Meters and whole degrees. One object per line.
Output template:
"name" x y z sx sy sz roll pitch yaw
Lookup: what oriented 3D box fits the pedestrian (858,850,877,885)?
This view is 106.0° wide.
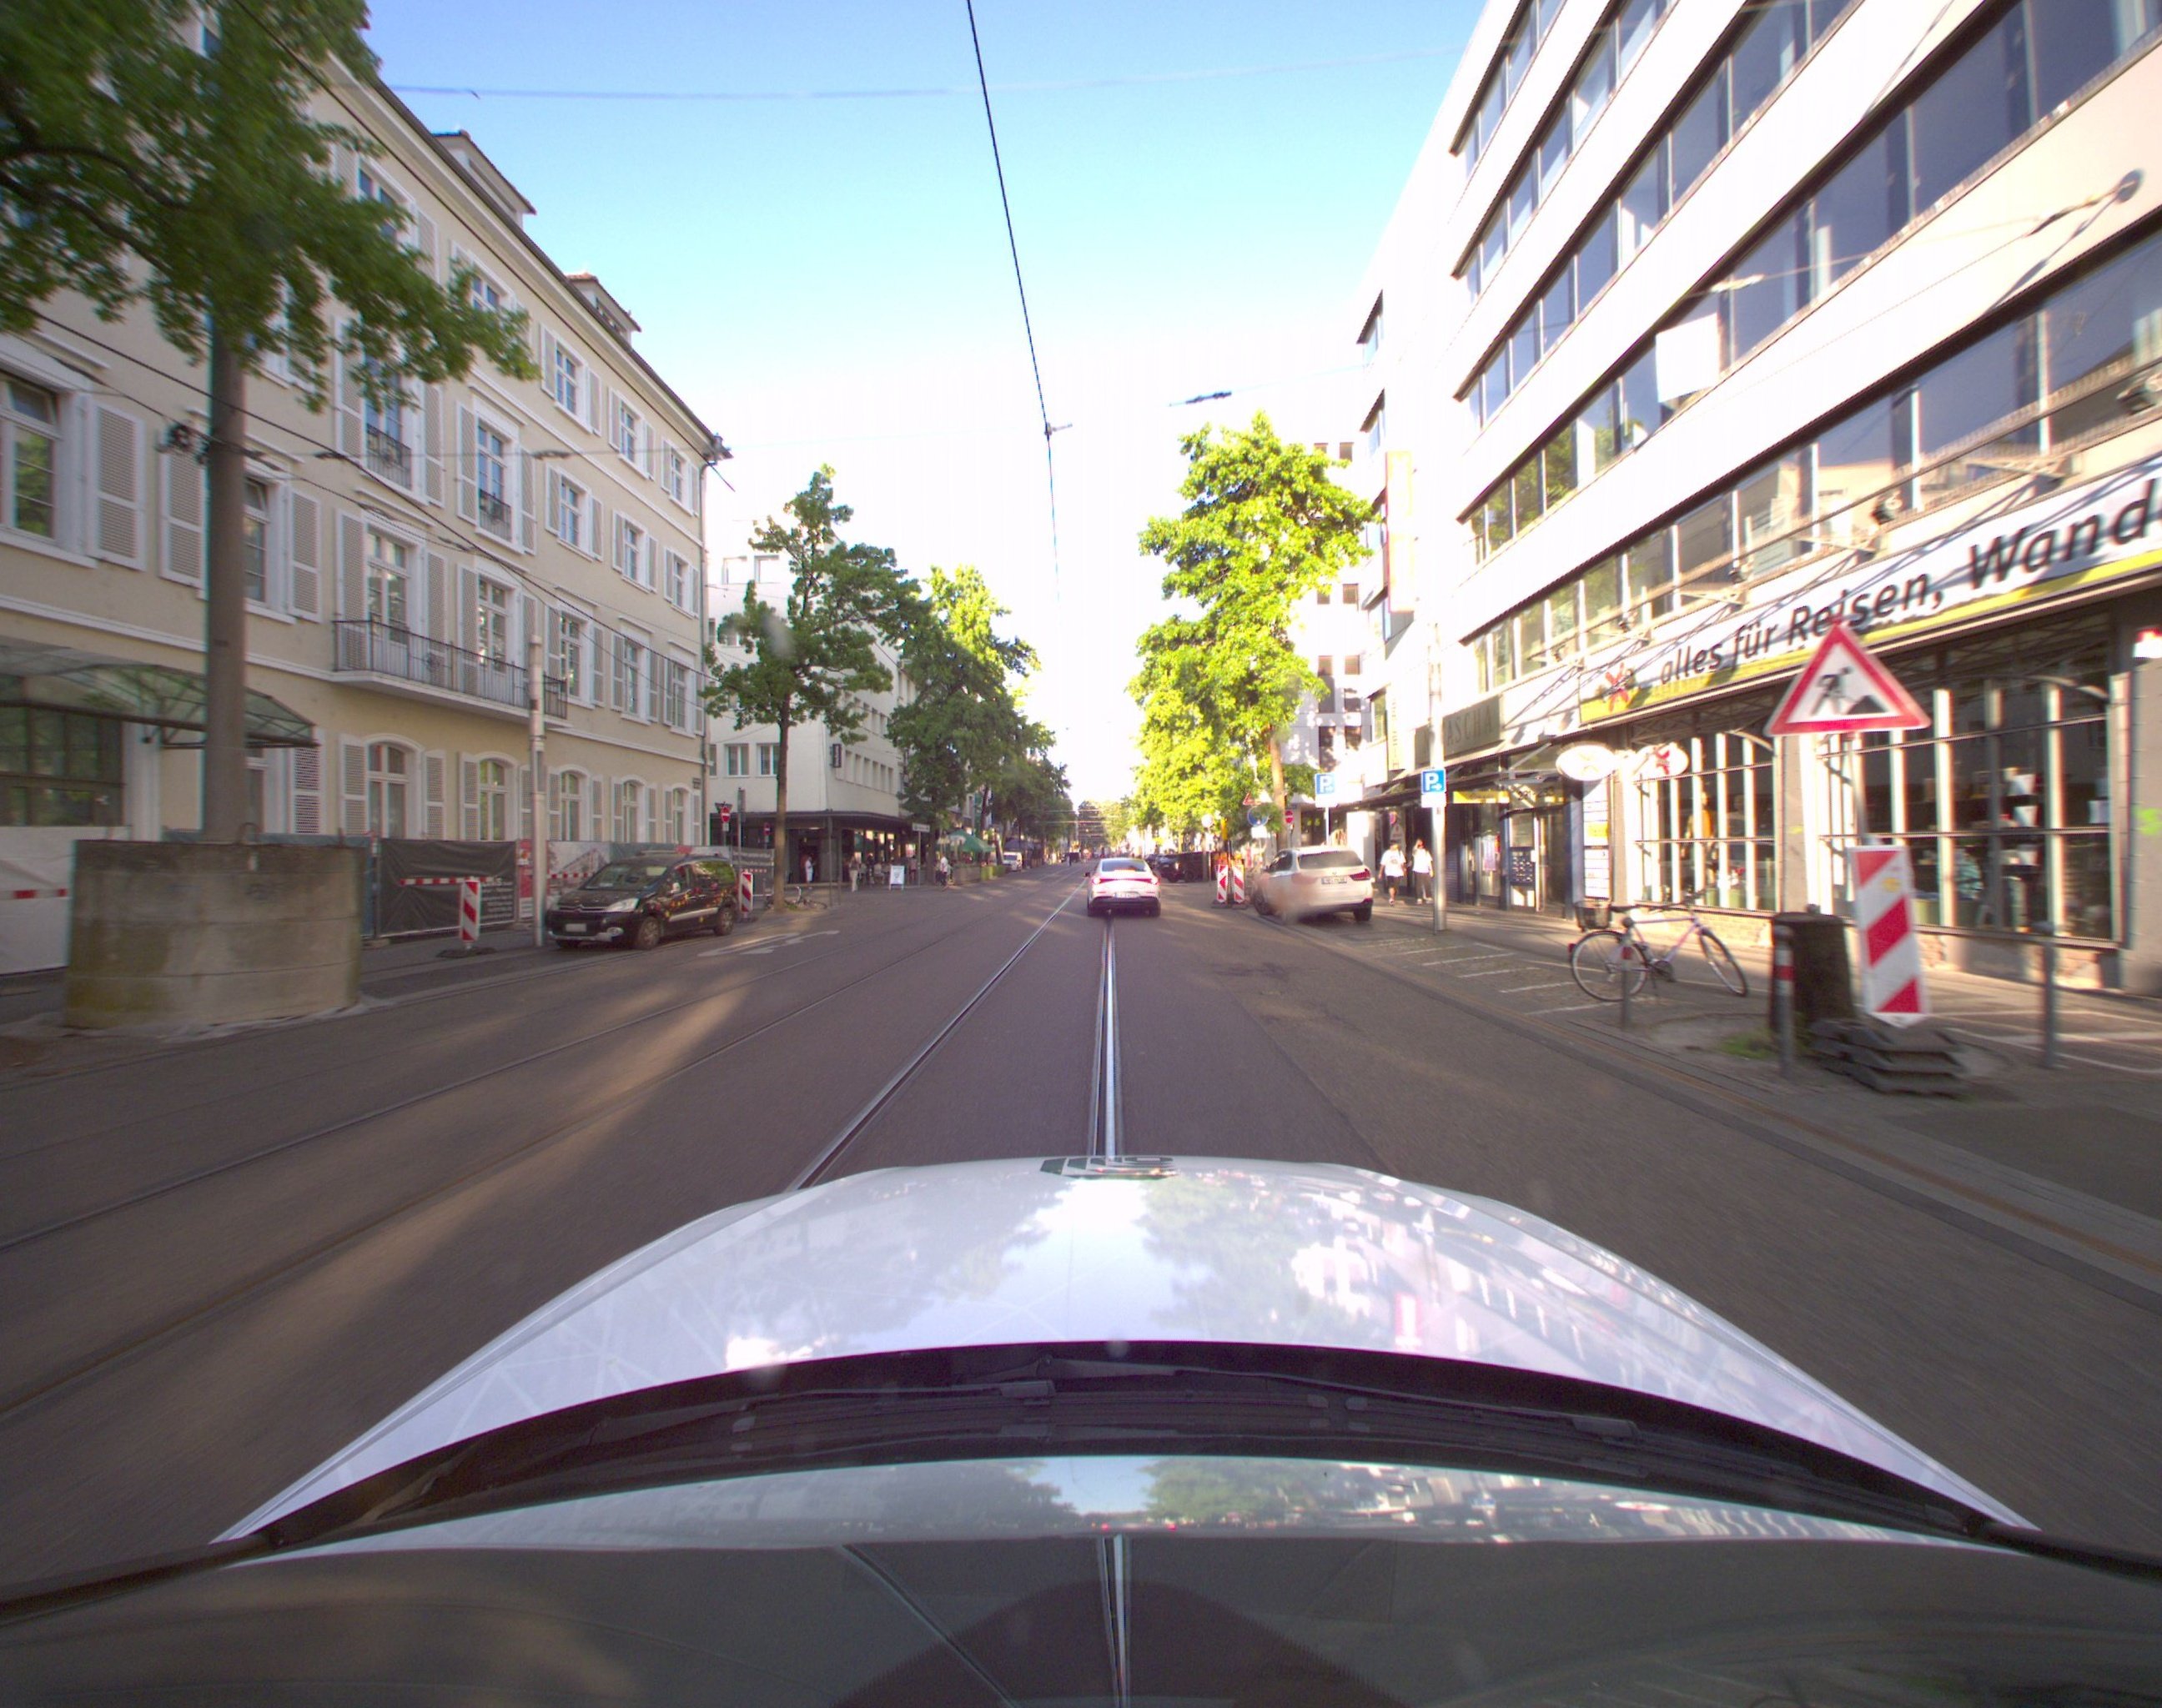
"pedestrian" -11.346 0.721 43.311 0.679 1.815 0.767 1 0 17

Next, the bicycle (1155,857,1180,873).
"bicycle" 7.148 0.911 67.345 1.901 1.119 0.661 -3 -1 -27

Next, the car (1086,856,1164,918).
"car" 1.115 0.789 21.510 1.850 1.455 4.177 0 0 2

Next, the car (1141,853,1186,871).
"car" 8.467 0.819 83.510 4.369 1.652 1.678 -3 0 -30

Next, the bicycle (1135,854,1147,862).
"bicycle" 10.437 0.630 142.452 1.908 1.281 0.608 -3 0 -10

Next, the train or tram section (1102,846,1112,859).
"train or tram section" 7.334 -0.342 227.546 2.684 3.516 11.148 -1 0 2

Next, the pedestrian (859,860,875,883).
"pedestrian" -11.950 0.971 45.498 0.642 1.269 0.739 1 0 2

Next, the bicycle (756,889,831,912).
"bicycle" -8.821 1.428 25.030 1.787 0.609 1.284 0 0 5

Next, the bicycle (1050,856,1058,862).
"bicycle" -4.783 0.933 144.516 1.492 1.029 0.343 0 0 -9

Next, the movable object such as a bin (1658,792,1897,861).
"movable object such as a bin" 32.594 -1.209 38.582 8.113 2.910 2.840 -1 0 20

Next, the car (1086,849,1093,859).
"car" 2.623 0.064 253.954 1.985 2.897 5.278 -1 0 2

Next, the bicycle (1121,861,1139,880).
"bicycle" 2.693 0.876 44.492 0.714 0.995 2.065 1 0 11

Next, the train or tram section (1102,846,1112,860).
"train or tram section" 6.891 -0.336 215.707 2.684 3.516 12.551 -1 0 2

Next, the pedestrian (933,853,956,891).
"pedestrian" -6.392 0.822 38.156 0.790 1.740 0.868 -1 1 10

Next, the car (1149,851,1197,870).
"car" 9.001 0.631 79.470 4.262 1.587 1.866 -3 0 -30

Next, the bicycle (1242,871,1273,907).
"bicycle" 5.197 1.004 24.034 0.491 0.981 1.930 -1 0 0

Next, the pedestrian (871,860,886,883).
"pedestrian" -11.294 0.977 45.405 0.624 1.282 0.728 1 0 2

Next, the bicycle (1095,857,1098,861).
"bicycle" 4.320 1.501 229.141 0.797 1.142 2.257 1 0 1

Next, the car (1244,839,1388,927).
"car" 5.449 0.611 19.633 2.016 1.737 4.907 -4 0 0

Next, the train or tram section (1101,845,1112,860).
"train or tram section" 6.415 -0.325 203.156 2.684 3.516 12.551 -1 0 2

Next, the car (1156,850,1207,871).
"car" 8.873 0.582 72.085 4.174 1.571 1.836 -4 0 -31

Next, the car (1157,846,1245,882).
"car" 6.934 0.581 46.943 4.678 1.763 1.976 -4 0 -28

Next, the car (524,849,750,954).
"car" -8.684 0.833 16.483 1.849 1.832 4.563 0 0 3

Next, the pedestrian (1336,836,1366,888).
"pedestrian" 10.163 0.289 30.707 0.830 1.897 0.919 -2 0 4

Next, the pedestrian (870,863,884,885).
"pedestrian" -11.584 1.152 46.213 0.550 1.235 0.687 1 0 2

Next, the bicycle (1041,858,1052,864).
"bicycle" -5.189 1.032 121.749 1.586 0.930 0.378 0 0 8

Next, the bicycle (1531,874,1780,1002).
"bicycle" 5.670 0.820 8.160 1.802 1.135 0.843 -3 -1 9

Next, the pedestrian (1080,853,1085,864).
"pedestrian" 0.214 0.774 140.131 0.784 1.801 0.845 -1 0 3

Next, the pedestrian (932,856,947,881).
"pedestrian" -8.076 0.832 46.581 0.686 1.386 0.807 1 0 3

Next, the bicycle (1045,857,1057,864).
"bicycle" -4.586 0.951 125.152 1.784 1.077 0.377 0 0 -3

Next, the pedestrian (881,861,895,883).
"pedestrian" -10.985 1.007 46.376 0.550 1.235 0.687 1 0 2

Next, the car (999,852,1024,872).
"car" -6.682 0.746 78.483 1.788 1.864 4.557 1 0 3

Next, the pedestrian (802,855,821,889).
"pedestrian" -13.173 0.861 39.776 0.797 1.614 0.862 -1 2 -15
